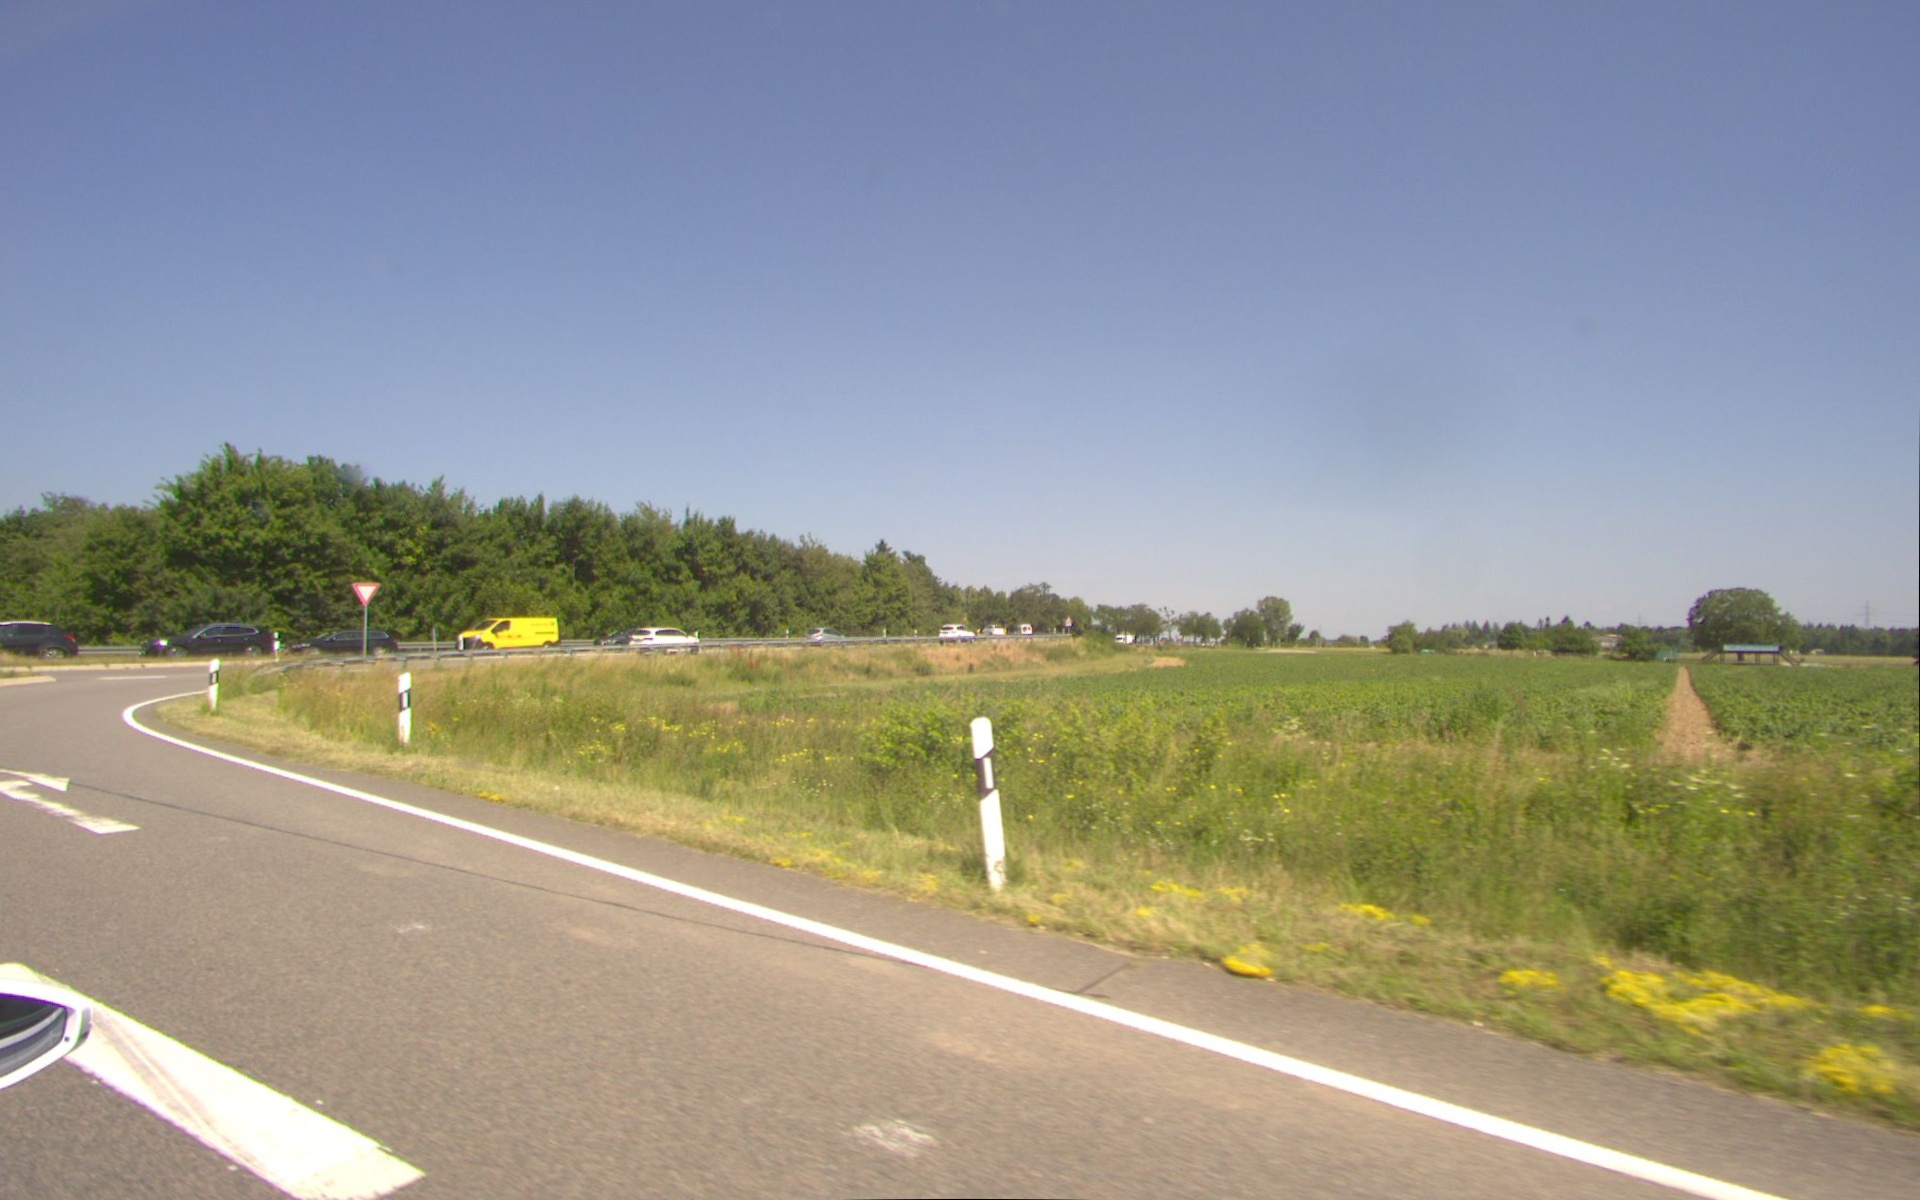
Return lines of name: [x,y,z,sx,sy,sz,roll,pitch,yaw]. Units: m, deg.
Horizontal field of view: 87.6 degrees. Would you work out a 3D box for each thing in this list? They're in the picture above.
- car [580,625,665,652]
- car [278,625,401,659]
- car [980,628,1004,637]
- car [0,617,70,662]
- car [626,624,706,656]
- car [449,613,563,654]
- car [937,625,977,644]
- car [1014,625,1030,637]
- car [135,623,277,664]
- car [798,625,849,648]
car: [-20.050,2.266,59.612,1.828,1.533,4.671,-1,-2,34]
car: [-29.548,1.976,47.793,1.831,1.533,4.663,-1,-2,39]
car: [4.481,4.552,140.936,1.691,1.204,3.985,1,-3,-26]
car: [-36.531,1.499,37.945,1.818,1.661,3.971,-1,-2,38]
car: [-16.280,2.203,55.676,1.711,1.587,4.467,-1,0,26]
car: [-24.032,1.775,53.193,1.972,2.039,5.311,-1,-2,33]
car: [-0.236,3.027,87.426,1.711,1.587,4.470,-1,-2,25]
car: [8.117,4.015,130.608,1.684,1.589,4.001,0,-2,-3]
car: [-31.563,1.779,42.038,1.744,1.618,4.475,-1,-2,35]
car: [-9.557,2.553,70.355,1.713,1.587,3.678,-1,-2,29]
